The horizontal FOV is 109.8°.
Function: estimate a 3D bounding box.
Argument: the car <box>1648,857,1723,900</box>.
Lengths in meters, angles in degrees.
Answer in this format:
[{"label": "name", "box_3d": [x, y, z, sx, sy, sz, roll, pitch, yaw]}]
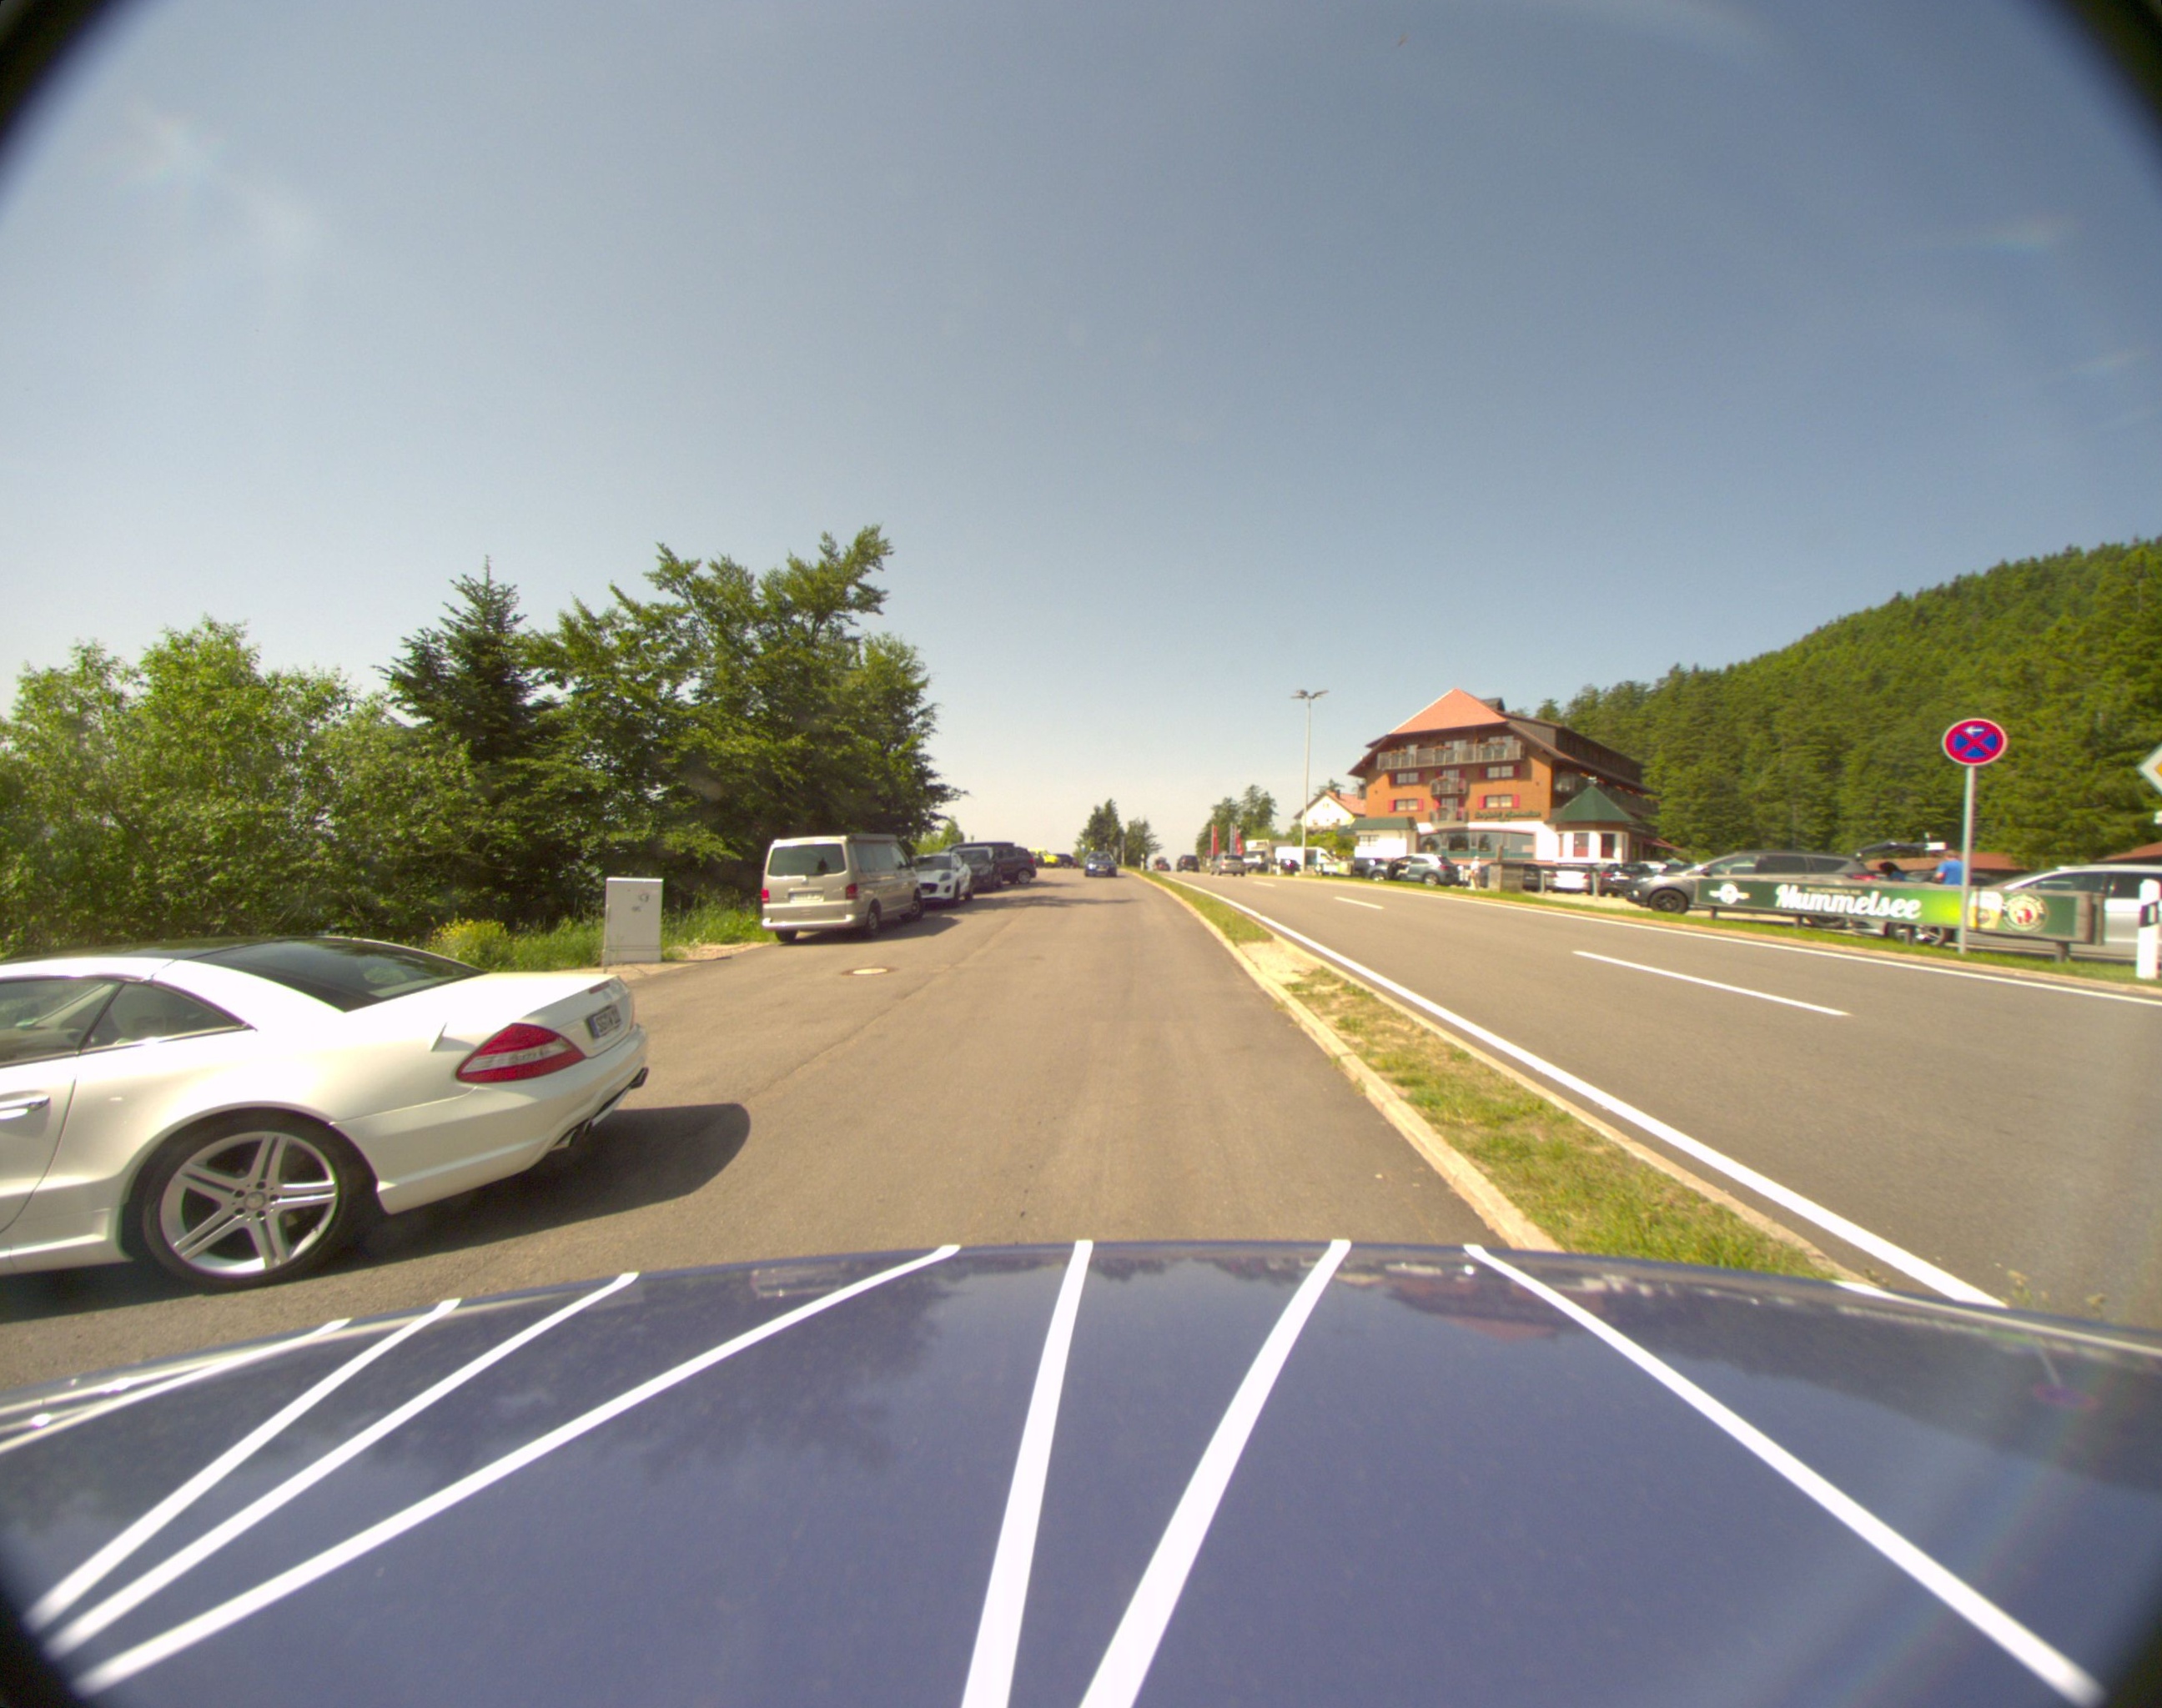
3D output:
[{"label": "car", "box_3d": [25.288, 0.982, 31.740, 4.104, 1.619, 1.818, 1, 1, -43]}]

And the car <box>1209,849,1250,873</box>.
[{"label": "car", "box_3d": [9.797, 0.431, 50.489, 1.884, 1.466, 4.714, -1, 1, 1]}]

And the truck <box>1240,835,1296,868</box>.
[{"label": "truck", "box_3d": [22.217, -0.259, 89.770, 2.876, 3.798, 9.037, -1, 0, 39]}]

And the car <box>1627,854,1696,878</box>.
[{"label": "car", "box_3d": [45.688, 0.891, 59.836, 1.924, 1.706, 4.082, 0, 1, -45]}]

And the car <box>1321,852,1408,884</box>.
[{"label": "car", "box_3d": [16.296, 0.778, 43.790, 4.258, 1.619, 1.828, 2, 1, 44]}]

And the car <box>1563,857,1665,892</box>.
[{"label": "car", "box_3d": [27.772, 1.038, 39.640, 4.082, 1.619, 1.828, 2, 1, 44]}]

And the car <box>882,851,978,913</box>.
[{"label": "car", "box_3d": [-4.250, 0.733, 22.035, 1.875, 1.538, 3.999, -3, 1, 0]}]

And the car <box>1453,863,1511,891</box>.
[{"label": "car", "box_3d": [23.966, 1.353, 45.365, 4.104, 1.504, 1.818, 1, 1, -43]}]

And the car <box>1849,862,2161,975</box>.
[{"label": "car", "box_3d": [14.731, 0.917, 11.345, 4.488, 1.422, 1.726, 2, 1, 43]}]

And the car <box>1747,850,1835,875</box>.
[{"label": "car", "box_3d": [54.491, 0.604, 58.360, 1.924, 1.706, 4.831, 0, 1, -45]}]

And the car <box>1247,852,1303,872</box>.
[{"label": "car", "box_3d": [16.200, 0.679, 63.437, 4.082, 1.518, 1.828, 2, 1, 40]}]

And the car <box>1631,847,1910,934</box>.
[{"label": "car", "box_3d": [15.583, 0.733, 17.480, 4.538, 1.646, 1.726, 2, 1, 43]}]

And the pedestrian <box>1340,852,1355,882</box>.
[{"label": "pedestrian", "box_3d": [17.853, 0.872, 50.899, 0.717, 2.002, 0.802, 0, 1, 0]}]

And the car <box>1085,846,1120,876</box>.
[{"label": "car", "box_3d": [1.196, 0.351, 43.202, 1.875, 1.605, 3.913, 1, 1, 1]}]

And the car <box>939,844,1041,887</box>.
[{"label": "car", "box_3d": [-3.914, 0.475, 32.660, 4.003, 1.609, 1.873, -3, 1, -18]}]

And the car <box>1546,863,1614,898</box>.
[{"label": "car", "box_3d": [24.291, 1.241, 36.913, 4.104, 1.504, 1.818, 1, 1, -43]}]

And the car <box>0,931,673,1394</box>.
[{"label": "car", "box_3d": [-4.432, 1.209, 3.228, 4.414, 1.288, 1.753, -3, 0, -16]}]

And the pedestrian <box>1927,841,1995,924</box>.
[{"label": "pedestrian", "box_3d": [17.741, 0.552, 15.343, 0.744, 1.626, 0.849, 2, 2, 41]}]

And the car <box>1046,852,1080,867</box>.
[{"label": "car", "box_3d": [-2.107, 0.608, 89.245, 3.909, 1.605, 1.877, 1, 1, 3]}]

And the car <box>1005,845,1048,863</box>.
[{"label": "car", "box_3d": [-5.263, 0.008, 73.740, 3.909, 1.605, 1.877, 1, 1, 3]}]

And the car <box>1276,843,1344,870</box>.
[{"label": "car", "box_3d": [24.871, 0.234, 82.517, 6.949, 2.775, 2.671, 1, 1, 20]}]

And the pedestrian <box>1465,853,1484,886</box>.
[{"label": "pedestrian", "box_3d": [19.313, 0.752, 37.283, 0.744, 1.615, 0.684, 2, 1, 31]}]

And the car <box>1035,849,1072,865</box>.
[{"label": "car", "box_3d": [-2.958, 0.282, 82.410, 3.909, 1.605, 1.877, 1, 1, 3]}]

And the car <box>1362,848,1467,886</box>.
[{"label": "car", "box_3d": [16.175, 0.586, 36.936, 4.258, 1.619, 1.828, 2, 1, 44]}]

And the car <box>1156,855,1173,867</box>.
[{"label": "car", "box_3d": [11.323, 0.907, 103.242, 1.710, 1.429, 4.449, 1, 1, 0]}]

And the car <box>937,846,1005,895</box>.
[{"label": "car", "box_3d": [-3.988, 0.560, 28.167, 1.875, 1.609, 3.999, -3, 1, 0]}]

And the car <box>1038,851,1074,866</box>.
[{"label": "car", "box_3d": [-2.790, 0.531, 85.125, 3.909, 1.605, 1.877, 1, 1, 3]}]

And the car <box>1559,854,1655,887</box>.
[{"label": "car", "box_3d": [28.919, 0.862, 41.835, 4.082, 1.619, 1.828, 2, 1, 44]}]

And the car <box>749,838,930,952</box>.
[{"label": "car", "box_3d": [-4.705, 0.698, 15.638, 1.861, 1.924, 4.610, -3, 1, 4]}]

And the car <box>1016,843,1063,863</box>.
[{"label": "car", "box_3d": [-4.171, -0.083, 76.480, 4.456, 1.914, 1.876, 1, 1, 3]}]

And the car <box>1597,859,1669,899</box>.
[{"label": "car", "box_3d": [24.665, 1.049, 33.881, 4.104, 1.619, 1.818, 1, 1, -43]}]

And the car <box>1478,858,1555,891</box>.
[{"label": "car", "box_3d": [21.009, 0.947, 36.807, 1.720, 1.422, 4.001, 2, 1, 6]}]

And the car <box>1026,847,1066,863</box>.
[{"label": "car", "box_3d": [-3.644, 0.054, 79.602, 3.909, 1.605, 1.877, 1, 1, 3]}]

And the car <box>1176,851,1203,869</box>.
[{"label": "car", "box_3d": [10.299, 0.568, 72.394, 1.998, 1.638, 4.567, 1, 1, 1]}]

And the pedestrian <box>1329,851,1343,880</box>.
[{"label": "pedestrian", "box_3d": [17.964, 0.805, 53.505, 0.717, 2.002, 0.802, 0, 1, 0]}]

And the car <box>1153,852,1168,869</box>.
[{"label": "car", "box_3d": [12.974, 1.015, 124.141, 2.016, 2.735, 5.917, 1, 1, 2]}]

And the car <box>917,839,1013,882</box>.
[{"label": "car", "box_3d": [-5.843, 0.298, 38.282, 4.463, 1.914, 1.873, -3, 1, -18]}]
